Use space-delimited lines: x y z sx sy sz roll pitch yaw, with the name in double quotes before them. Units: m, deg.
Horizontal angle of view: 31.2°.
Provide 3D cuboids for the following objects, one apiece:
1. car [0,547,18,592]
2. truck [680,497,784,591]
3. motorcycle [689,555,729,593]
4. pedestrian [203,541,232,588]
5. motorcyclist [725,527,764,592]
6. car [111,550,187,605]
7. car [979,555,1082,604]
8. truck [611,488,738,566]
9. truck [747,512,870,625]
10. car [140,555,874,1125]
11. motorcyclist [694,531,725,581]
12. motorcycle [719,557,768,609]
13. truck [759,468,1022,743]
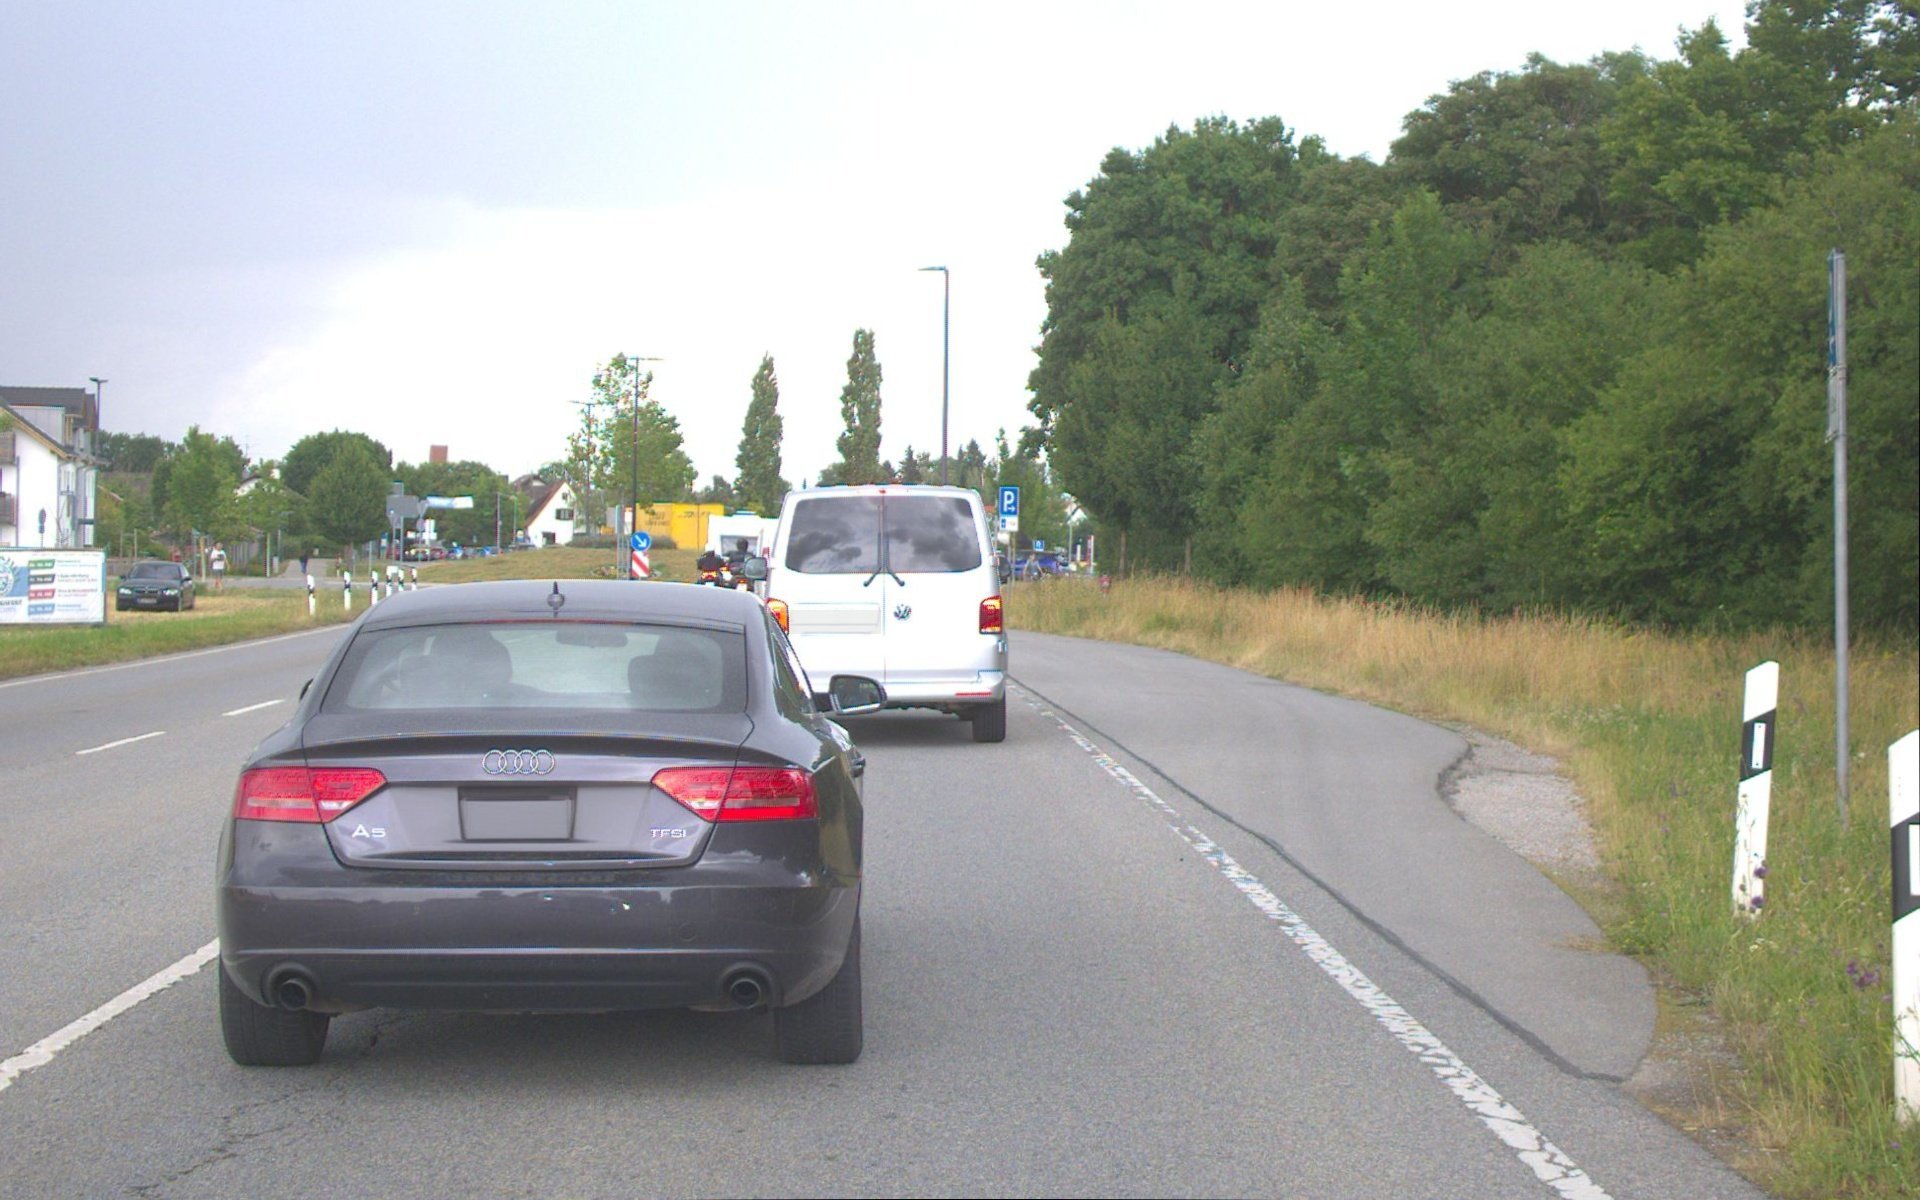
"car" -31.735 -0.972 108.378 1.995 1.441 4.208 1 1 17
"truck" -6.957 -1.692 104.139 2.625 2.728 5.869 1 1 -8
"motorcycle" -6.781 -0.711 92.869 0.944 1.016 2.284 1 1 -7
"pedestrian" -25.126 -1.213 116.346 0.701 1.580 0.657 1 1 15
"motorcyclist" -4.682 -0.879 74.822 0.772 1.379 0.820 1 1 1
"car" -22.665 -0.642 96.151 1.993 1.437 4.001 1 2 -13
"car" 3.029 -0.890 147.577 3.991 2.007 1.998 1 1 19
"truck" -13.855 -3.526 165.738 3.575 3.566 9.960 1 1 -20
"truck" -2.800 -0.604 64.537 2.193 2.007 5.085 1 1 -1
"car" -1.241 0.589 10.917 1.875 1.449 4.177 0 1 -2
"motorcyclist" -6.767 -1.189 92.782 0.785 1.352 0.854 1 1 -8
"motorcycle" -4.713 -0.376 74.926 0.920 1.090 2.189 1 1 0
"truck" -0.573 0.003 27.516 1.904 1.991 4.629 1 1 -2
